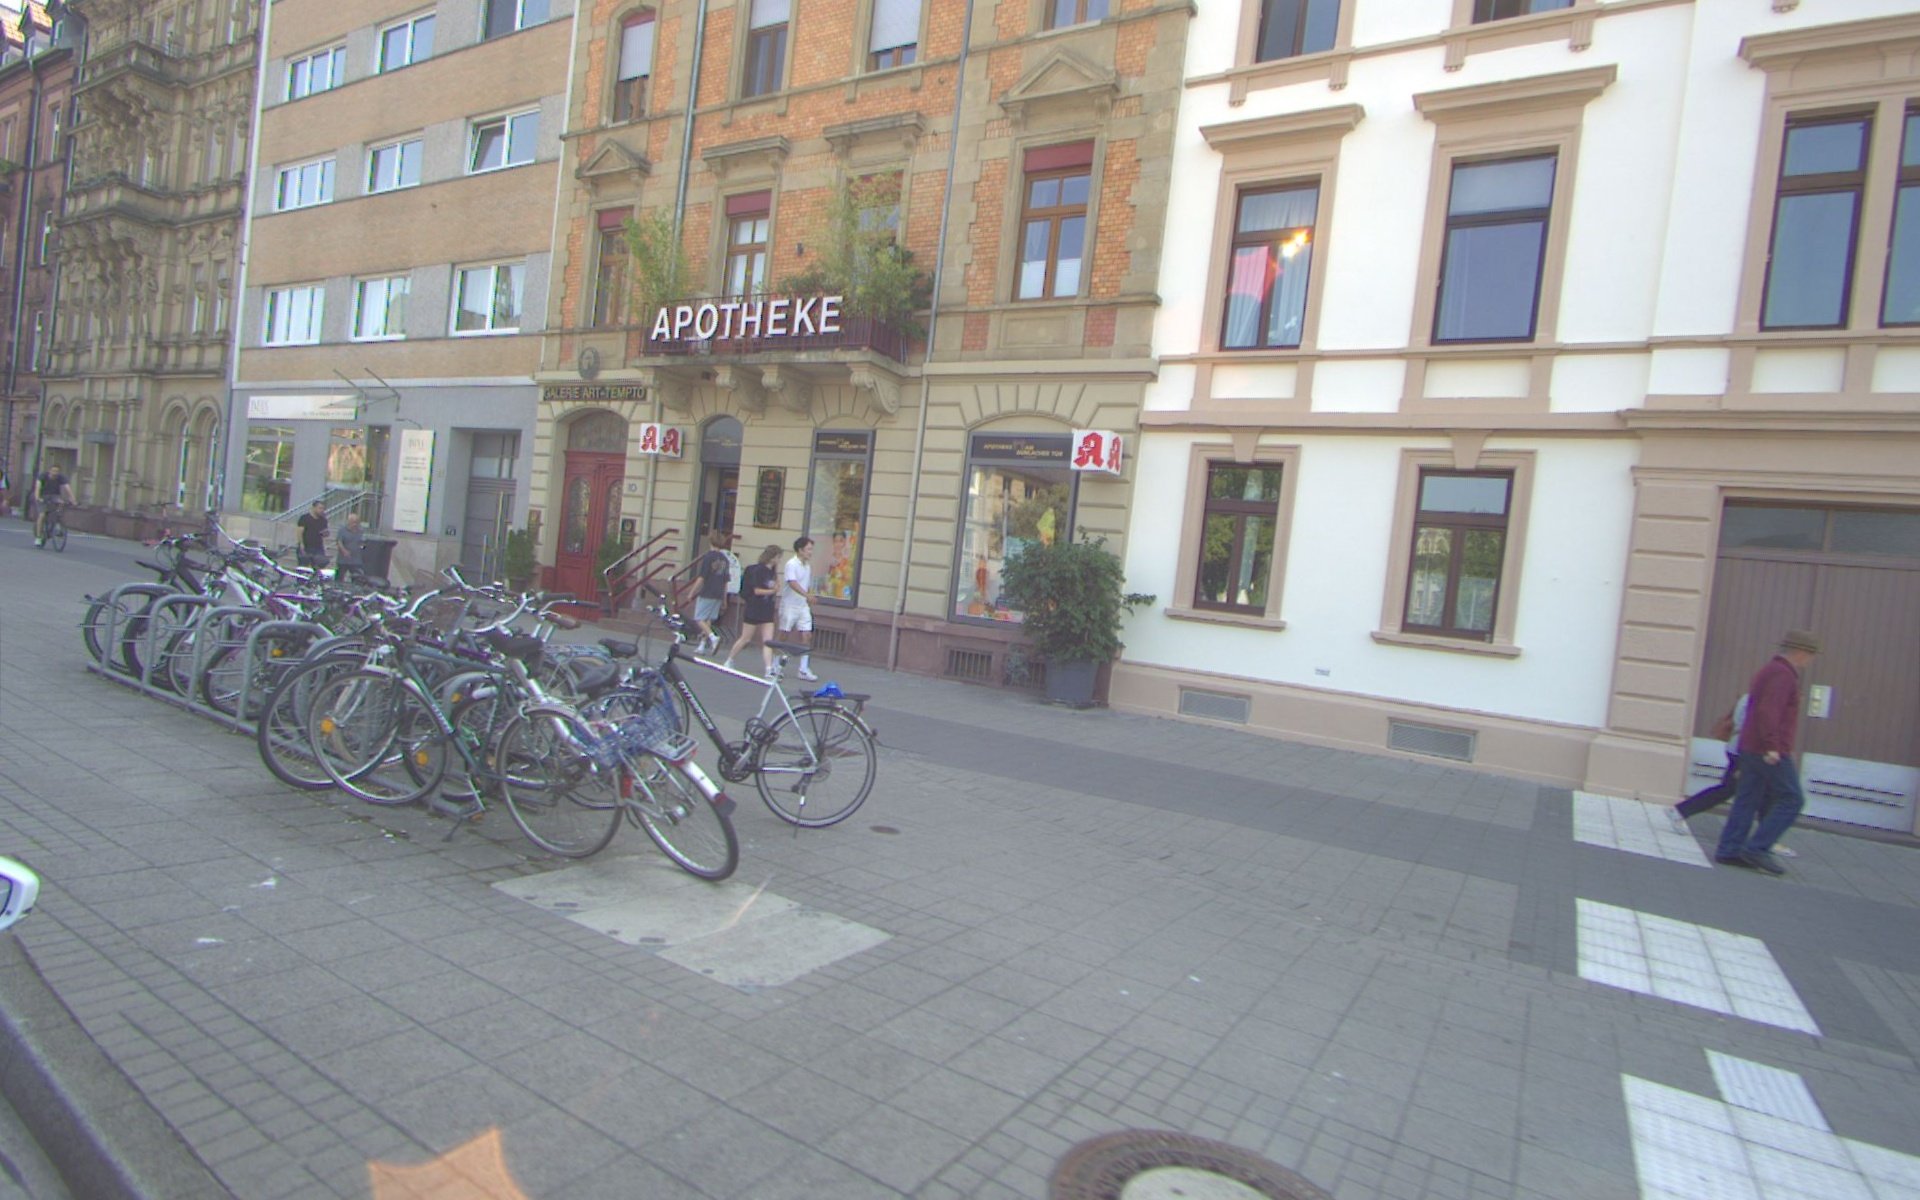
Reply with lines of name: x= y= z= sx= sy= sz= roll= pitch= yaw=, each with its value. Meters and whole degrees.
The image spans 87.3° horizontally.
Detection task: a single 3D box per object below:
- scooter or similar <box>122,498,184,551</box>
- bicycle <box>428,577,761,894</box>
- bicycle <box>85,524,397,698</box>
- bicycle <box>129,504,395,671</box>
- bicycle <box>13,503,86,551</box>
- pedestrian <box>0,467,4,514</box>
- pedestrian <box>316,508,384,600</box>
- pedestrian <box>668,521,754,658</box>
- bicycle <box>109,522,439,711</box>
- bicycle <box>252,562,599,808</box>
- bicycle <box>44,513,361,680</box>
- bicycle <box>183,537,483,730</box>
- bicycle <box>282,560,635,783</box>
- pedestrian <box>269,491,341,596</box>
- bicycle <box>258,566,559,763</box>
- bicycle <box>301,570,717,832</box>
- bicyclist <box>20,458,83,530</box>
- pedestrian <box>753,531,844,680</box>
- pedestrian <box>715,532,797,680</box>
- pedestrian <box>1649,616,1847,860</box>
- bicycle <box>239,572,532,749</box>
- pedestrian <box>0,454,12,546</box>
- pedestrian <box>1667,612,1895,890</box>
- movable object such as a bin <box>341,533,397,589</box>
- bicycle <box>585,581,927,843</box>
scooter or similar: x=-21.241 y=-1.980 z=26.474 sx=1.279 sy=1.211 sz=0.514 roll=7 pitch=1 yaw=12
bicycle: x=-1.637 y=0.520 z=4.415 sx=1.481 sy=1.085 sz=0.476 roll=7 pitch=2 yaw=32
bicycle: x=-5.154 y=0.120 z=7.328 sx=0.633 sy=1.085 sz=1.660 roll=7 pitch=0 yaw=31
bicycle: x=-5.922 y=-0.066 z=8.622 sx=0.634 sy=1.231 sz=1.673 roll=7 pitch=0 yaw=36
bicycle: x=-18.763 y=-1.505 z=20.721 sx=1.745 sy=0.866 sz=0.589 roll=6 pitch=2 yaw=30
pedestrian: x=-33.432 y=-3.824 z=34.517 sx=0.684 sy=1.614 sz=0.624 roll=7 pitch=2 yaw=26
pedestrian: x=-10.811 y=-0.813 z=17.827 sx=0.776 sy=1.512 sz=0.644 roll=7 pitch=2 yaw=31
pedestrian: x=-3.614 y=-0.147 z=14.634 sx=0.828 sy=1.871 sz=0.685 roll=7 pitch=3 yaw=23
bicycle: x=-4.600 y=0.148 z=6.871 sx=0.633 sy=1.085 sz=1.660 roll=9 pitch=1 yaw=31
bicycle: x=-2.718 y=0.442 z=5.295 sx=0.359 sy=1.085 sz=1.539 roll=9 pitch=1 yaw=31
bicycle: x=-5.757 y=0.015 z=7.752 sx=0.634 sy=1.085 sz=1.776 roll=7 pitch=0 yaw=36
bicycle: x=-4.048 y=0.246 z=6.620 sx=0.464 sy=1.085 sz=1.539 roll=9 pitch=1 yaw=31
bicycle: x=-2.819 y=0.422 z=5.892 sx=0.359 sy=1.085 sz=1.837 roll=9 pitch=1 yaw=31
pedestrian: x=-11.292 y=-0.967 z=17.340 sx=0.776 sy=1.706 sz=0.644 roll=7 pitch=2 yaw=31
bicycle: x=-3.278 y=0.402 z=6.132 sx=0.359 sy=1.029 sz=1.539 roll=9 pitch=1 yaw=31
bicycle: x=-2.207 y=0.499 z=5.314 sx=0.375 sy=1.085 sz=2.125 roll=8 pitch=0 yaw=27
bicyclist: x=-18.676 y=-2.175 z=20.687 sx=0.572 sy=1.339 sz=0.753 roll=7 pitch=2 yaw=31
pedestrian: x=-2.104 y=0.063 z=13.105 sx=0.865 sy=1.820 sz=0.599 roll=7 pitch=4 yaw=32
pedestrian: x=-2.571 y=0.066 z=12.686 sx=0.668 sy=1.774 sz=0.577 roll=7 pitch=4 yaw=31
pedestrian: x=6.515 y=1.105 z=8.393 sx=1.000 sy=1.797 sz=0.684 roll=9 pitch=2 yaw=31
bicycle: x=-3.555 y=0.394 z=6.366 sx=0.359 sy=0.964 sz=1.539 roll=9 pitch=1 yaw=31
pedestrian: x=-17.900 y=-1.867 z=18.345 sx=0.692 sy=1.689 sz=0.597 roll=5 pitch=3 yaw=-33
pedestrian: x=6.016 y=1.063 z=7.451 sx=1.000 sy=1.797 sz=0.684 roll=9 pitch=2 yaw=31
movable object such as a bin: x=-12.271 y=-0.804 z=20.908 sx=0.752 sy=1.061 sz=0.646 roll=6 pitch=2 yaw=-12
bicycle: x=-1.073 y=0.581 z=5.326 sx=1.541 sy=1.133 sz=0.689 roll=8 pitch=1 yaw=-17
